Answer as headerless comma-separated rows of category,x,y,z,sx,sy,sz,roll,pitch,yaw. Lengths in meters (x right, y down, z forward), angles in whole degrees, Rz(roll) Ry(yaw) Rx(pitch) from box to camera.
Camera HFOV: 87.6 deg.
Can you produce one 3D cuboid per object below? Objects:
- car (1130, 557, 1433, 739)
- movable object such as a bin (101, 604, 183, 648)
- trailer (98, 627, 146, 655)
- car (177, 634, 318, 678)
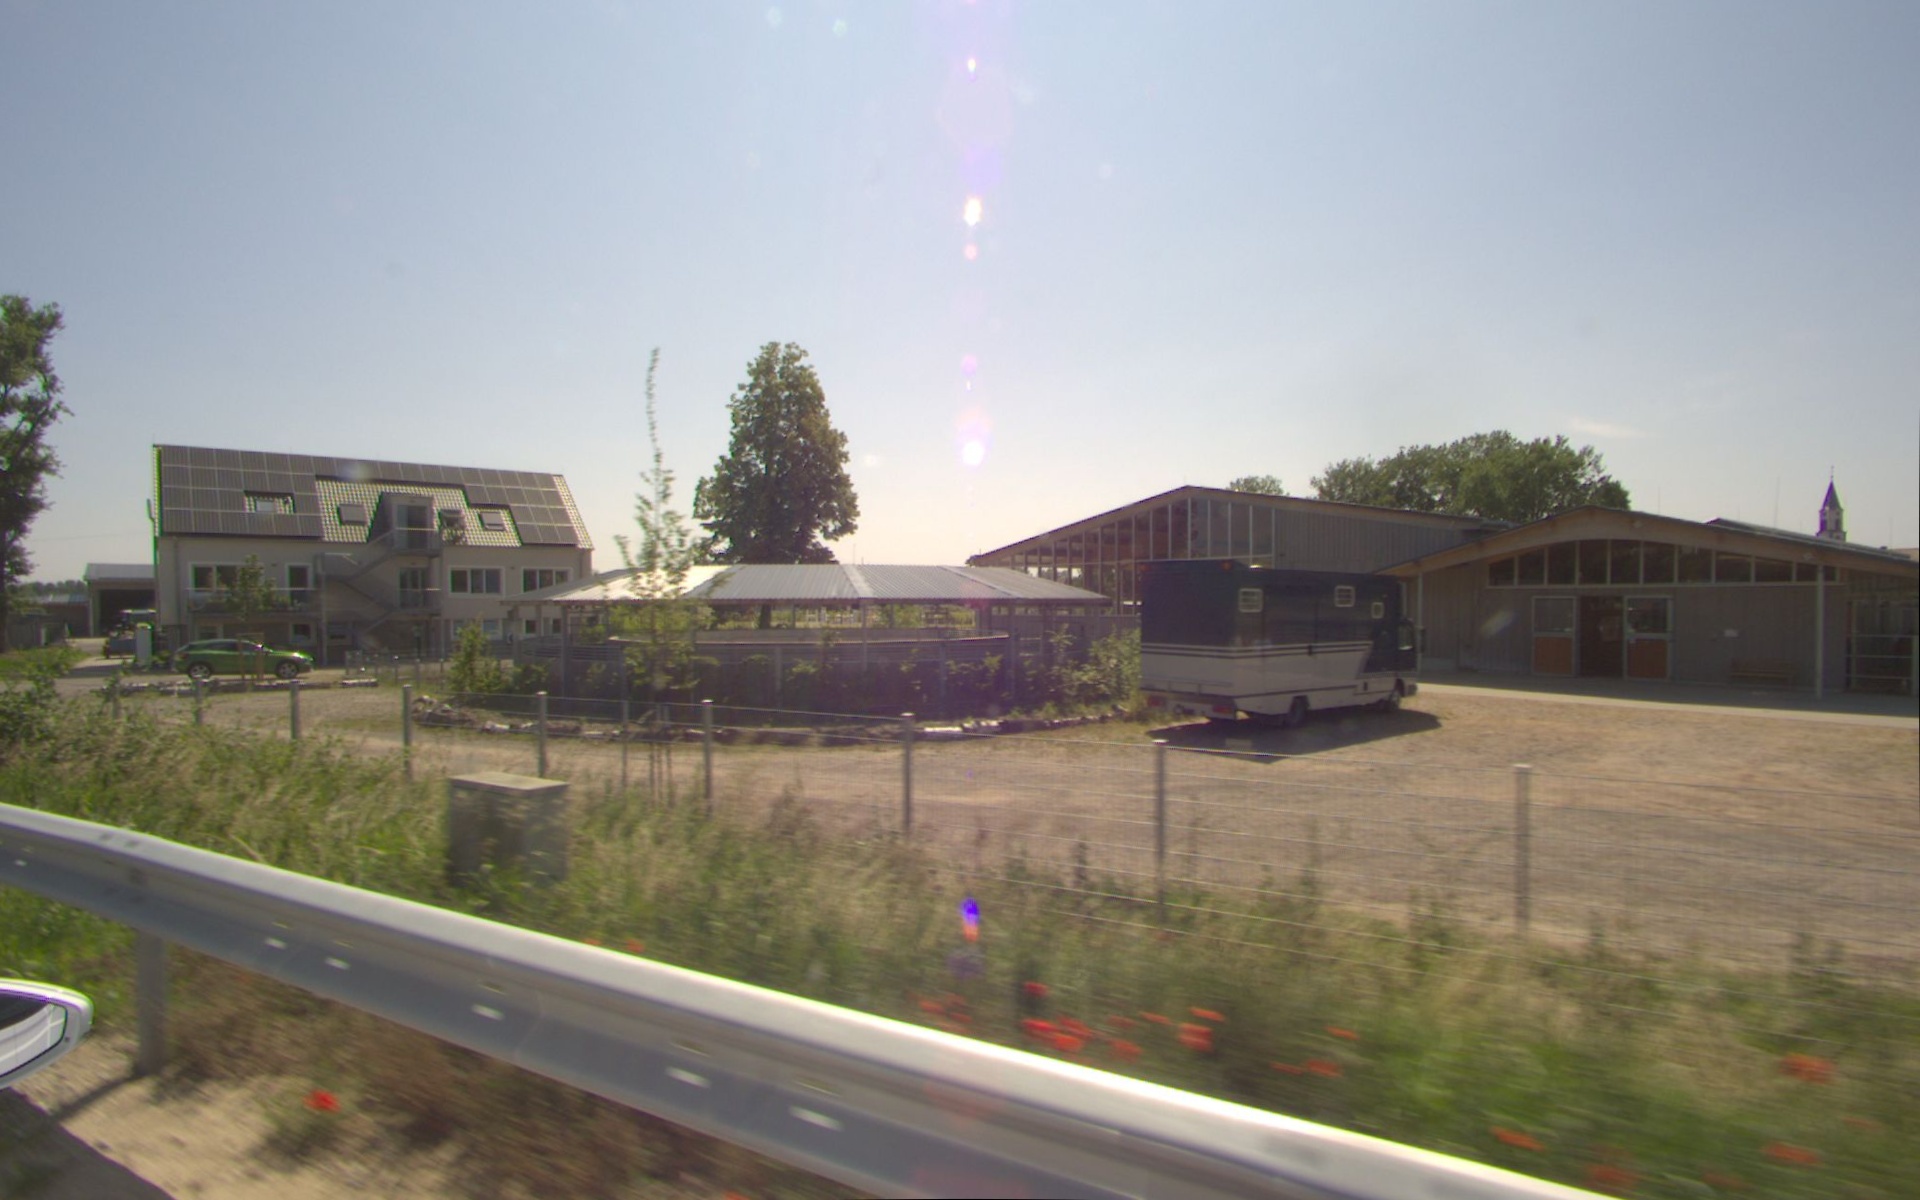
car,8.093,1.009,24.332,8.897,3.701,2.756,0,0,-40
movable object such as a bin,-54.387,1.702,66.511,6.426,2.806,2.990,0,-1,39
trailer,-47.722,2.368,57.040,1.693,1.515,3.124,0,-2,-33
car,-27.341,2.130,38.496,4.323,1.600,1.920,1,-3,-38
